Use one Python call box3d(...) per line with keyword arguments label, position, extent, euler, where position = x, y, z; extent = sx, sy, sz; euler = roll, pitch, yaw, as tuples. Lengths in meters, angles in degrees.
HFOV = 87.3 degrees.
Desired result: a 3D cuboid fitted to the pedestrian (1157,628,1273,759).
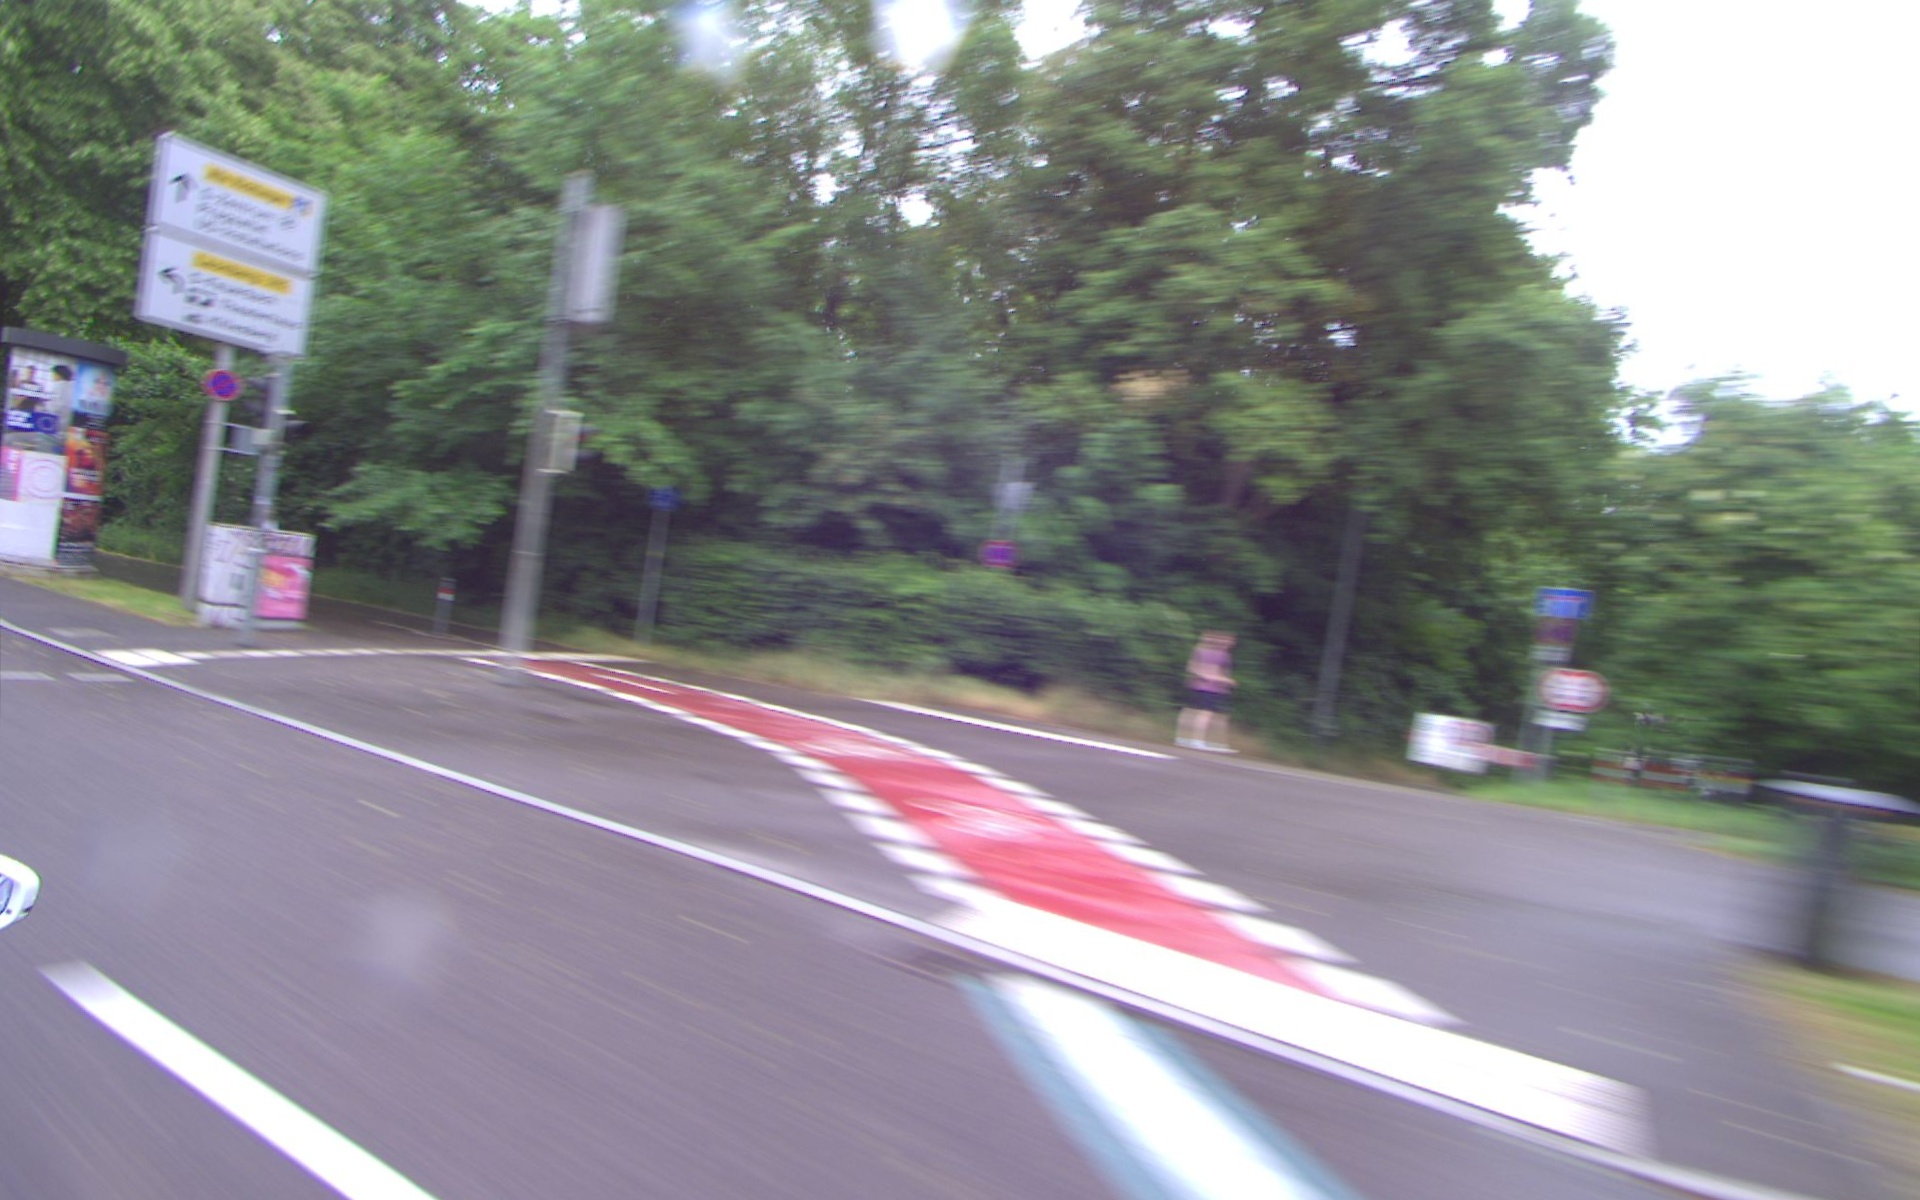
box3d(label="pedestrian", position=(3.862, 1.419, 15.265), extent=(1.136, 1.756, 0.880), euler=(7, 6, -37))
